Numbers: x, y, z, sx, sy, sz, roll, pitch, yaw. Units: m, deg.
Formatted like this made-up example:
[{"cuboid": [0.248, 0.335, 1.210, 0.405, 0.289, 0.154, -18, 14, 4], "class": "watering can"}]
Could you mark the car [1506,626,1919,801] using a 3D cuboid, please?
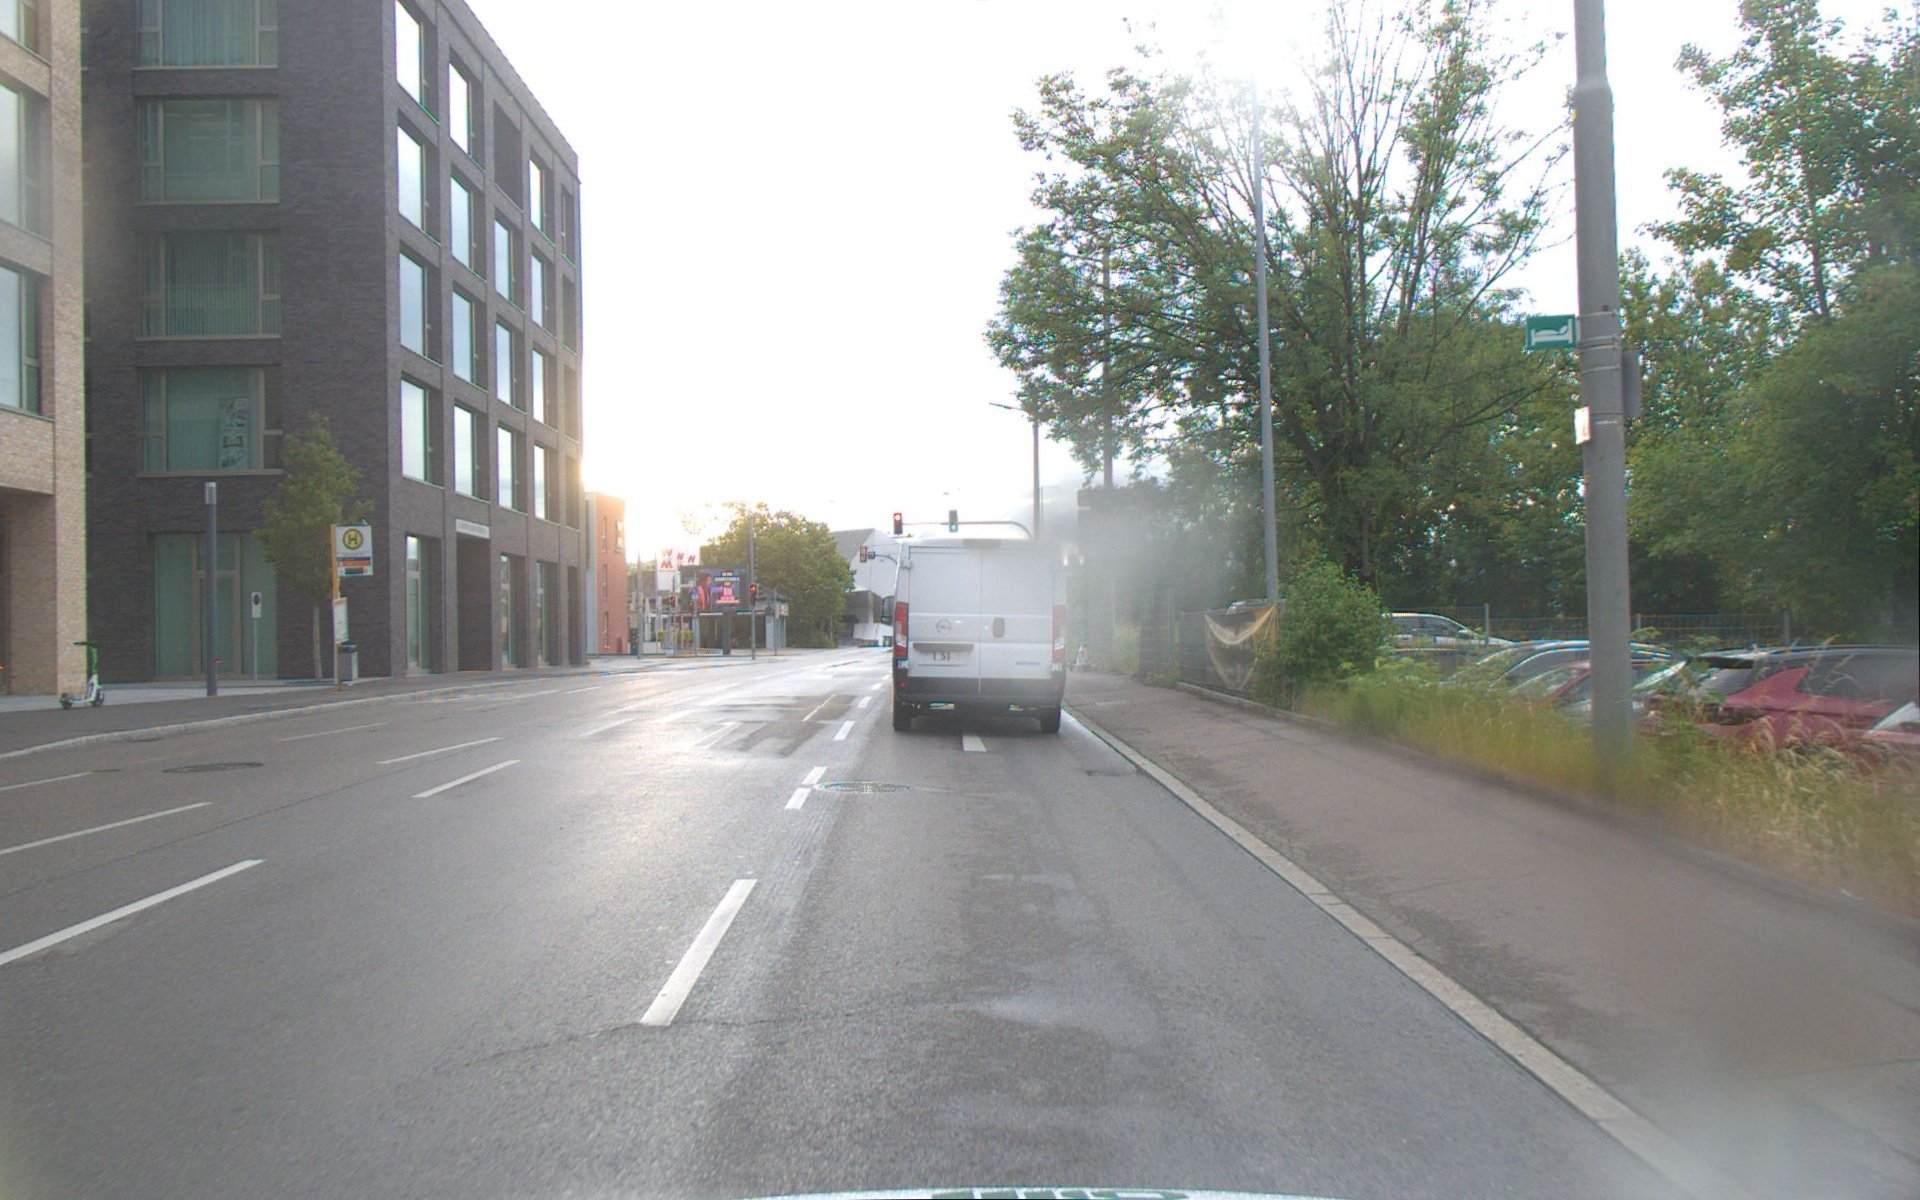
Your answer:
[{"cuboid": [7.552, 1.054, 16.072, 3.906, 1.548, 1.803, 0, 0, -1], "class": "car"}]

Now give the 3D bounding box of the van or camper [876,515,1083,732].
[{"cuboid": [0.212, 0.236, 20.898, 2.292, 2.398, 5.199, 0, 0, 0], "class": "van or camper"}]

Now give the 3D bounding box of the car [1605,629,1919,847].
[{"cuboid": [7.645, 1.067, 13.564, 4.045, 1.616, 1.760, 0, 0, -1], "class": "car"}]

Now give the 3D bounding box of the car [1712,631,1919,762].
[{"cuboid": [12.094, 1.206, 21.444, 3.910, 1.548, 1.801, 0, 0, -6], "class": "car"}]

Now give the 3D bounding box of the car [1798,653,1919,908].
[{"cuboid": [7.946, 1.153, 10.974, 3.906, 1.534, 1.760, 0, 0, -1], "class": "car"}]

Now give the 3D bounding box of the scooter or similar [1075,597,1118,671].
[{"cuboid": [3.051, 0.737, 36.947, 0.428, 1.615, 1.263, 0, 0, -23], "class": "scooter or similar"}]

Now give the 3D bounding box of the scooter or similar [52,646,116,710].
[{"cuboid": [-15.262, 1.341, 28.844, 0.343, 1.090, 1.428, 0, -2, 0], "class": "scooter or similar"}]

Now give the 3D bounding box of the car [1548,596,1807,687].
[{"cuboid": [12.826, 0.721, 29.694, 3.910, 1.548, 1.801, 0, 0, -6], "class": "car"}]

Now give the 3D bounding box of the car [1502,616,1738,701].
[{"cuboid": [12.850, 1.113, 32.304, 3.910, 1.548, 1.801, 0, 0, -6], "class": "car"}]

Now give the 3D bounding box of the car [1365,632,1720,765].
[{"cuboid": [7.370, 1.216, 21.140, 3.910, 1.548, 1.801, 0, 0, -6], "class": "car"}]

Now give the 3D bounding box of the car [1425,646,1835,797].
[{"cuboid": [7.459, 1.328, 18.667, 3.906, 1.548, 1.803, 0, 0, -1], "class": "car"}]

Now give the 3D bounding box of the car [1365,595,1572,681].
[{"cuboid": [11.233, 0.813, 36.688, 3.911, 1.548, 1.801, -5, 0, -6], "class": "car"}]

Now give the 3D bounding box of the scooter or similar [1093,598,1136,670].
[{"cuboid": [3.457, 0.747, 37.131, 0.428, 1.591, 1.264, 0, 0, -23], "class": "scooter or similar"}]
